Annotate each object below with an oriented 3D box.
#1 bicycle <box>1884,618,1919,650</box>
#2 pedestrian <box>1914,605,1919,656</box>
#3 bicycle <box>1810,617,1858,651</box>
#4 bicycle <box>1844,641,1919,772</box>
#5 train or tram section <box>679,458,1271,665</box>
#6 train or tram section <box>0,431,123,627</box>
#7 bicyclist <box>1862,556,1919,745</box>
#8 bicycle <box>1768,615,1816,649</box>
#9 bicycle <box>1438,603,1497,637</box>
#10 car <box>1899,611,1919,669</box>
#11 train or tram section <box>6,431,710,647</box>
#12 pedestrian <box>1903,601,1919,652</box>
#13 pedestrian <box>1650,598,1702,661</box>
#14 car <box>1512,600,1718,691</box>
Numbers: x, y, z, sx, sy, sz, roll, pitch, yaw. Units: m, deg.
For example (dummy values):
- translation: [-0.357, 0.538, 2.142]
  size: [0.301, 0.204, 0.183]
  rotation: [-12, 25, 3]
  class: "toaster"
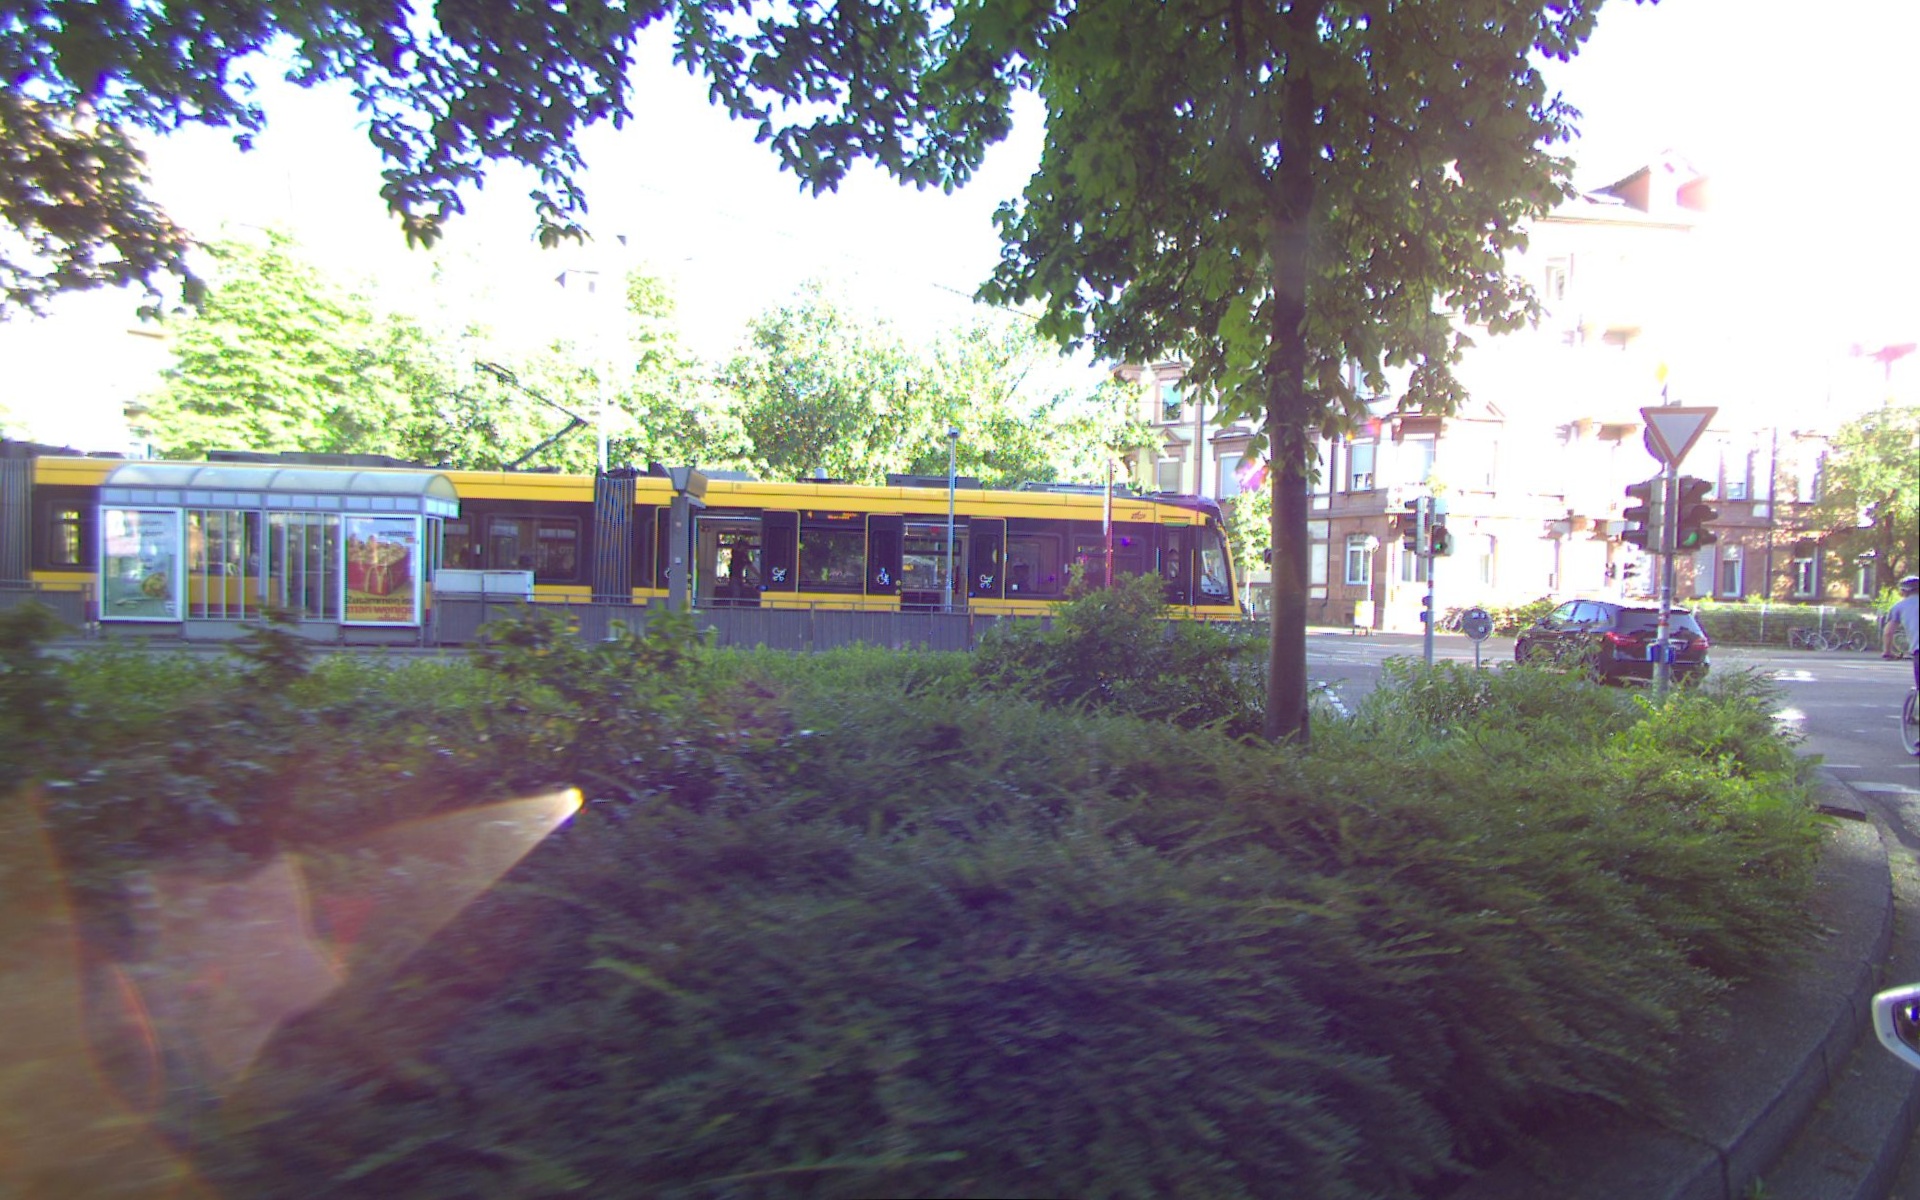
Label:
- translation: [32.877, 1.188, 34.830]
  size: [1.209, 1.052, 0.443]
  rotation: [2, 2, 1]
  class: "bicycle"
- translation: [31.928, 1.028, 32.716]
  size: [0.880, 1.688, 0.712]
  rotation: [2, 4, 14]
  class: "pedestrian"
- translation: [30.321, 1.188, 34.849]
  size: [1.209, 1.122, 0.443]
  rotation: [2, 2, 2]
  class: "bicycle"
- translation: [10.208, 1.090, 10.589]
  size: [0.798, 1.200, 2.223]
  rotation: [2, 1, 28]
  class: "bicycle"
- translation: [0.314, -0.736, 21.143]
  size: [11.575, 3.668, 2.799]
  rotation: [2, 1, -4]
  class: "train or tram section"
- translation: [-23.824, -1.521, 19.410]
  size: [12.439, 3.605, 2.772]
  rotation: [2, 1, -4]
  class: "train or tram section"
- translation: [10.259, 0.526, 10.639]
  size: [0.782, 1.939, 0.943]
  rotation: [2, 1, 29]
  class: "bicyclist"
- translation: [28.927, 1.110, 34.928]
  size: [1.209, 1.122, 0.443]
  rotation: [1, 2, 2]
  class: "bicycle"
- translation: [19.205, 0.746, 38.020]
  size: [1.932, 1.122, 0.442]
  rotation: [4, 2, 31]
  class: "bicycle"
- translation: [30.431, 1.255, 29.307]
  size: [4.325, 1.672, 1.947]
  rotation: [2, 1, -3]
  class: "car"
- translation: [-11.536, -1.126, 20.289]
  size: [12.182, 3.635, 2.784]
  rotation: [2, 1, -4]
  class: "train or tram section"
- translation: [32.744, 0.903, 34.255]
  size: [0.623, 1.738, 0.521]
  rotation: [2, 1, 10]
  class: "pedestrian"
- translation: [19.855, 0.809, 27.855]
  size: [0.718, 1.657, 0.896]
  rotation: [0, 4, -35]
  class: "pedestrian"
- translation: [12.366, 0.807, 19.281]
  size: [1.759, 1.562, 3.862]
  rotation: [0, -1, 6]
  class: "car"
